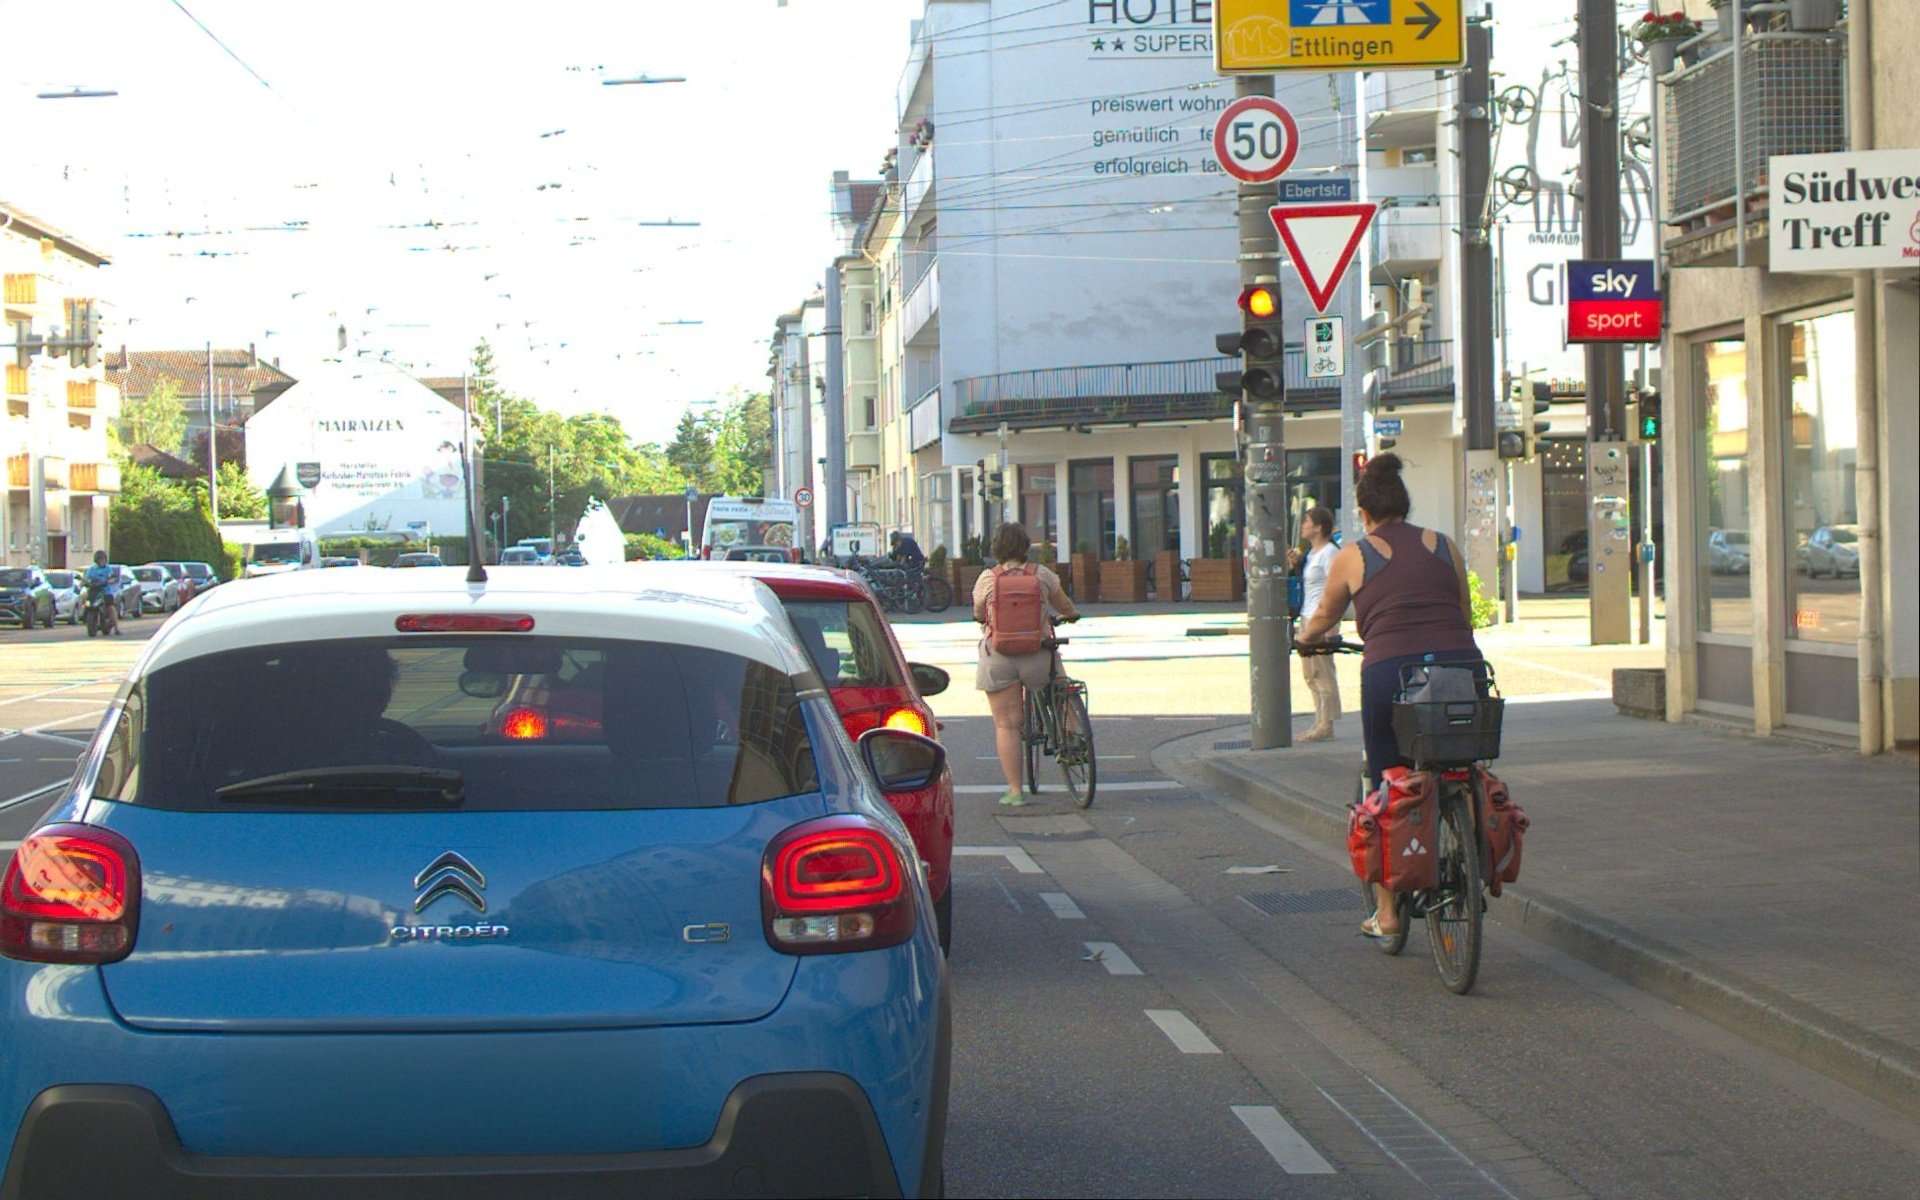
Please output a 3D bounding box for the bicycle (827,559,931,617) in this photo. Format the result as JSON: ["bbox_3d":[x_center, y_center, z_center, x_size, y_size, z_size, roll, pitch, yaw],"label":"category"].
[{"bbox_3d":[-1.558,-0.241,65.824,1.904,1.061,0.642,-1,1,-7],"label":"bicycle"}]

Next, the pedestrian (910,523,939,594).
[{"bbox_3d":[-0.720,-0.846,70.017,0.467,1.415,0.527,-1,1,-13],"label":"pedestrian"}]

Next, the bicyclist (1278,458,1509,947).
[{"bbox_3d":[1.487,0.335,11.875,0.616,1.624,0.760,-1,1,-5],"label":"bicyclist"}]

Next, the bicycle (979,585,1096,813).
[{"bbox_3d":[0.448,0.563,20.652,0.613,1.260,1.911,-1,1,-1],"label":"bicycle"}]

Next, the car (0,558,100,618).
[{"bbox_3d":[-24.306,-0.340,91.957,1.950,1.514,4.001,-1,1,-6],"label":"car"}]

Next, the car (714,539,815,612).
[{"bbox_3d":[-3.882,-0.514,67.815,1.786,1.354,3.915,-1,1,-6],"label":"car"}]

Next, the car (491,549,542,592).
[{"bbox_3d":[-22.044,-1.506,170.851,2.338,2.032,5.051,-1,1,-6],"label":"car"}]

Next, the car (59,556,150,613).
[{"bbox_3d":[-24.458,-0.463,98.384,1.950,1.514,4.001,-1,1,-6],"label":"car"}]

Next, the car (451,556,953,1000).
[{"bbox_3d":[-1.006,0.580,13.595,1.680,1.457,4.001,0,1,-4],"label":"car"}]

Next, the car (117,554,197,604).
[{"bbox_3d":[-25.359,-0.677,108.667,1.950,1.514,4.001,-1,1,-6],"label":"car"}]

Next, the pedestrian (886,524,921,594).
[{"bbox_3d":[-1.153,-0.844,70.268,0.525,1.415,0.546,-1,1,20],"label":"pedestrian"}]

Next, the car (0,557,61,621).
[{"bbox_3d":[-23.785,-0.272,85.900,1.950,1.514,4.001,-1,1,-6],"label":"car"}]

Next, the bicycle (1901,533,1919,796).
[{"bbox_3d":[4.914,0.317,15.763,0.640,1.260,1.911,-1,1,-1],"label":"bicycle"}]

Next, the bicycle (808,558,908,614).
[{"bbox_3d":[-2.026,-0.273,68.323,1.904,1.061,0.642,-1,1,-7],"label":"bicycle"}]

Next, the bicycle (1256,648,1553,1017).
[{"bbox_3d":[1.499,0.753,11.899,0.616,1.099,1.886,-1,1,-5],"label":"bicycle"}]

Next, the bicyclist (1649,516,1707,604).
[{"bbox_3d":[11.850,-0.665,56.760,0.728,1.429,0.604,0,1,37],"label":"bicyclist"}]

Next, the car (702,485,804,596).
[{"bbox_3d":[-4.432,-1.277,73.251,2.079,2.262,5.652,0,1,-4],"label":"car"}]

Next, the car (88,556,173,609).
[{"bbox_3d":[-24.925,-0.547,103.388,1.950,1.514,4.001,-1,1,-6],"label":"car"}]

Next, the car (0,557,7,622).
[{"bbox_3d":[-23.320,-0.198,79.235,1.950,1.514,4.001,-1,1,-6],"label":"car"}]

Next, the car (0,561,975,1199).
[{"bbox_3d":[-0.959,0.672,7.385,1.680,1.457,4.001,0,1,-4],"label":"car"}]

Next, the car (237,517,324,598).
[{"bbox_3d":[-23.661,-1.509,119.945,2.493,2.703,5.839,-1,1,-7],"label":"car"}]

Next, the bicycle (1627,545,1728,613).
[{"bbox_3d":[11.848,-0.341,56.789,1.492,1.087,0.604,0,1,37],"label":"bicycle"}]

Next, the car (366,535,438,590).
[{"bbox_3d":[-17.350,-1.196,107.020,2.004,1.622,5.054,-1,1,-7],"label":"car"}]

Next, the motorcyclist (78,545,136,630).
[{"bbox_3d":[-16.674,-0.254,67.223,0.991,1.625,0.739,-1,1,-9],"label":"motorcyclist"}]

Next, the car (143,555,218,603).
[{"bbox_3d":[-26.068,-0.727,115.009,1.950,1.514,4.001,-1,1,-6],"label":"car"}]

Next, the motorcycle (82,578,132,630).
[{"bbox_3d":[-16.694,0.071,67.297,0.751,0.973,2.098,-1,1,-9],"label":"motorcycle"}]

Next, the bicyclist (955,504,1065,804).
[{"bbox_3d":[0.290,0.306,20.610,0.600,1.740,1.084,-1,1,-1],"label":"bicyclist"}]

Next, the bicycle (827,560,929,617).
[{"bbox_3d":[-1.607,-0.235,67.130,1.904,1.061,0.642,-1,1,-7],"label":"bicycle"}]

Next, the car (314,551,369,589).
[{"bbox_3d":[-25.976,-1.286,144.579,1.950,1.514,4.001,-1,1,-6],"label":"car"}]

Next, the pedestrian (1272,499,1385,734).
[{"bbox_3d":[2.608,0.111,24.385,0.751,1.629,0.740,-1,1,6],"label":"pedestrian"}]
